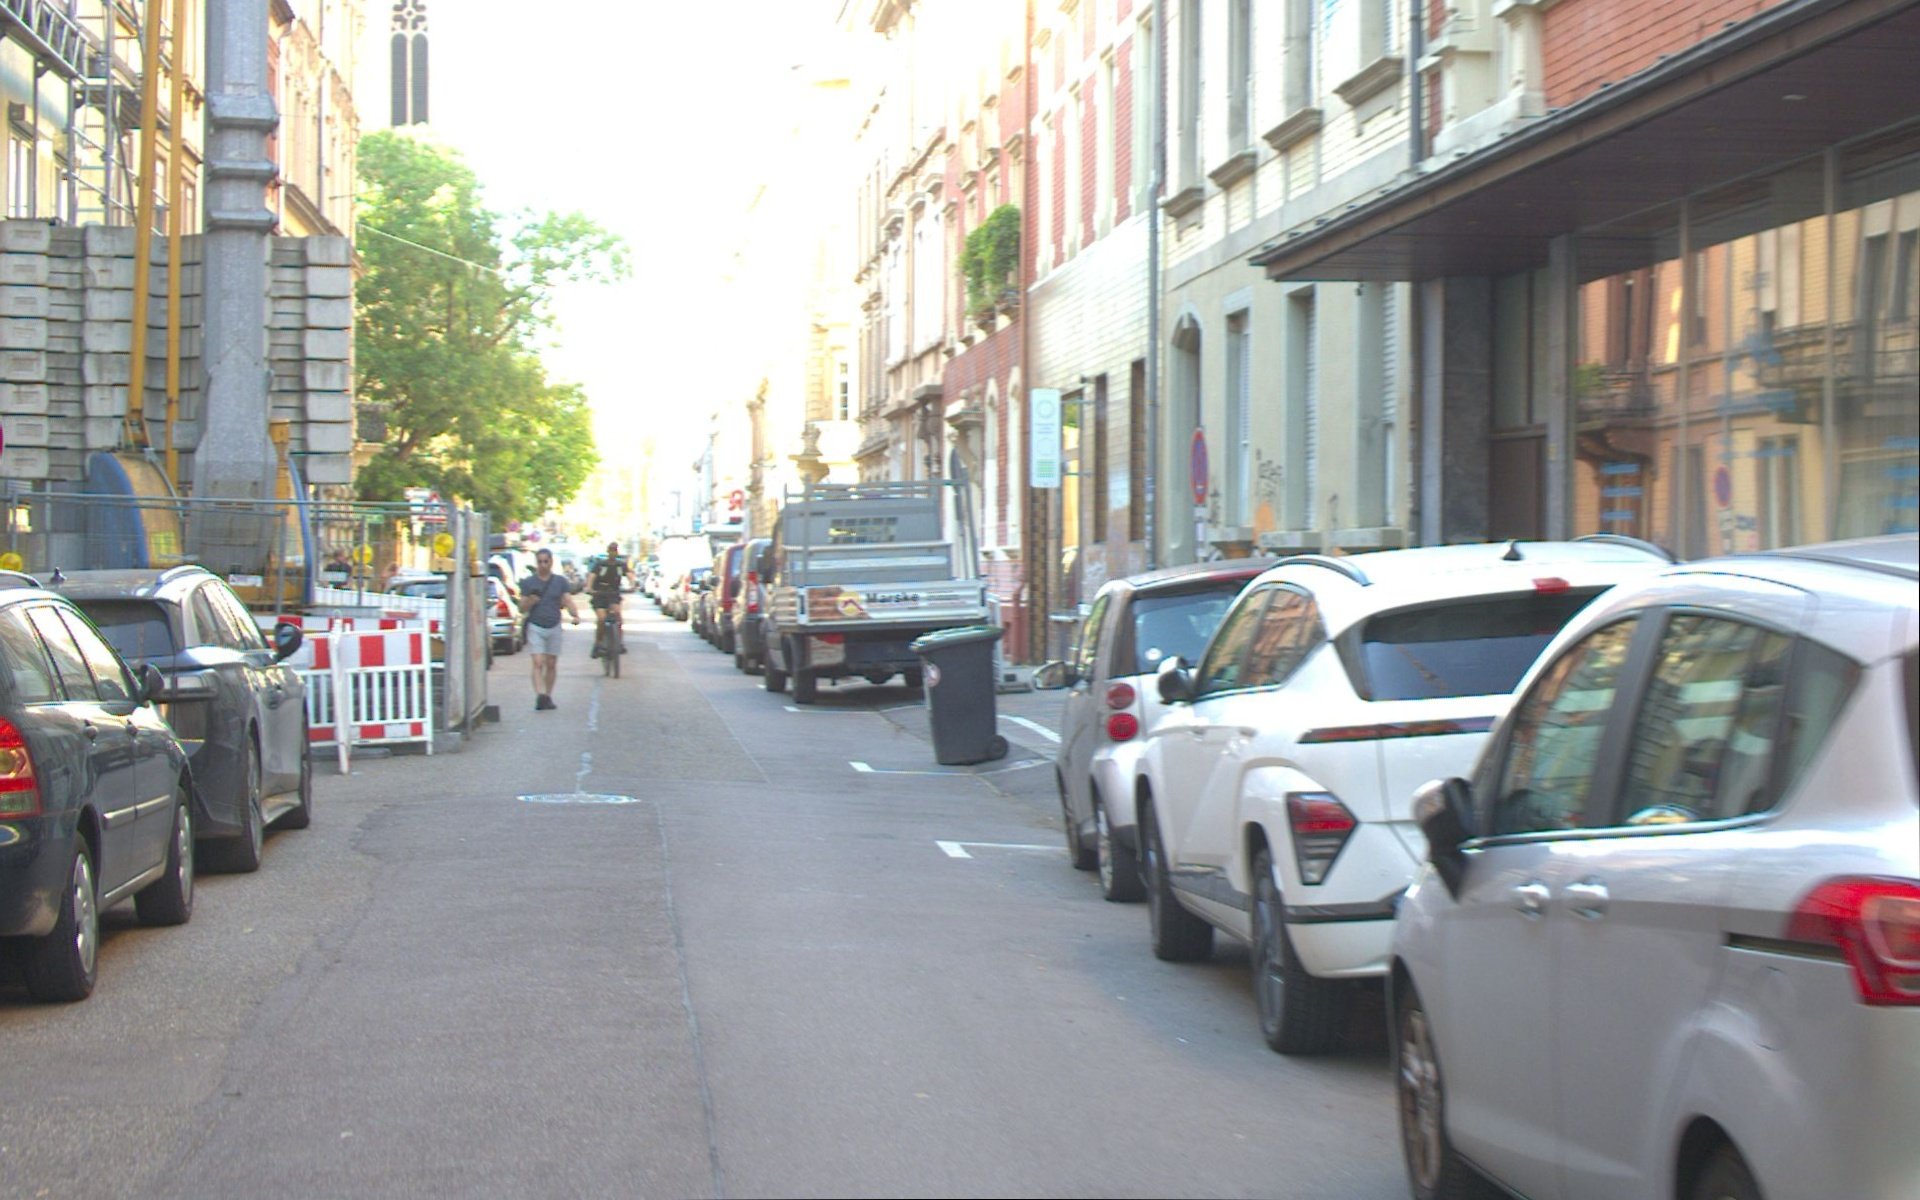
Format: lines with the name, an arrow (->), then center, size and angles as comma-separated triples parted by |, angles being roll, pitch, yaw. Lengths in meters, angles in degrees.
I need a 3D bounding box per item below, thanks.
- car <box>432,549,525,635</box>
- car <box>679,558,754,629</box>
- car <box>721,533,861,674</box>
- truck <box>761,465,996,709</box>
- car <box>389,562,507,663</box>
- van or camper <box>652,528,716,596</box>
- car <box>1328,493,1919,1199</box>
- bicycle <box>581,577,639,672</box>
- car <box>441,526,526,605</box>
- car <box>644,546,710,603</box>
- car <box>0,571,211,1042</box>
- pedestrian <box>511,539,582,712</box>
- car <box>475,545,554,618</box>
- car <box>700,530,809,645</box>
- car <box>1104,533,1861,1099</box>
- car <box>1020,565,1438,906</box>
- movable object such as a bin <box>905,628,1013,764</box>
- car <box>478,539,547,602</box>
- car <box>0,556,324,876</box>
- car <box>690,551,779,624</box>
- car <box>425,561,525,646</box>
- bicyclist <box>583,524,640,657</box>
car -> -9.071, -0.165, 64.813 | 1.674, 1.566, 3.870 | 0, 0, -8
car -> -7.118, -0.210, 100.209 | 1.993, 2.007, 4.001 | 0, 1, -7
car -> -2.499, 0.029, 49.988 | 1.674, 1.956, 4.110 | 0, 0, -8
truck -> -1.023, -0.176, 39.577 | 2.189, 2.598, 5.235 | -1, 1, -7
car -> -7.603, 0.159, 51.183 | 1.674, 1.440, 3.870 | 0, 0, -8
van or camper -> -10.340, -1.427, 128.644 | 1.993, 2.500, 4.203 | -1, 1, -10
car -> 1.913, 0.668, 6.799 | 1.640, 1.650, 3.870 | 1, 0, -5
bicycle -> -4.697, 0.315, 46.202 | 0.724, 1.182, 2.043 | 1, 1, -5
car -> -9.713, -0.700, 70.057 | 1.674, 1.566, 3.870 | 0, 0, -8
car -> -9.384, -0.859, 113.842 | 1.993, 1.842, 4.001 | -1, 1, -7
car -> -3.964, 0.643, 13.126 | 1.674, 1.506, 4.415 | 0, 0, -6
pedestrian -> -4.216, 0.252, 35.107 | 0.657, 1.727, 0.720 | -2, 1, -6
car -> -9.760, -0.408, 75.271 | 1.674, 1.566, 3.870 | 0, 0, -8
car -> -3.764, -0.229, 62.419 | 1.674, 2.024, 3.870 | 0, 0, -8
car -> 1.652, 0.621, 12.385 | 1.746, 1.670, 4.341 | 0, 0, -5
car -> 1.271, 0.600, 17.672 | 1.596, 1.555, 3.814 | 0, 1, -4
movable object such as a bin -> -0.011, 0.759, 27.407 | 0.795, 1.052, 0.660 | 0, 1, -5
car -> -13.412, -0.892, 103.297 | 1.993, 1.842, 4.001 | -1, 1, -7
car -> -4.396, 0.515, 18.142 | 1.674, 1.472, 4.609 | 0, 0, -6
car -> -4.997, -0.276, 75.857 | 1.674, 1.566, 3.870 | 0, 0, -8
car -> -8.445, 0.047, 59.960 | 1.674, 1.440, 3.870 | 0, 0, -8
bicyclist -> -4.673, -0.130, 46.127 | 0.730, 1.755, 0.835 | 1, 1, -5
